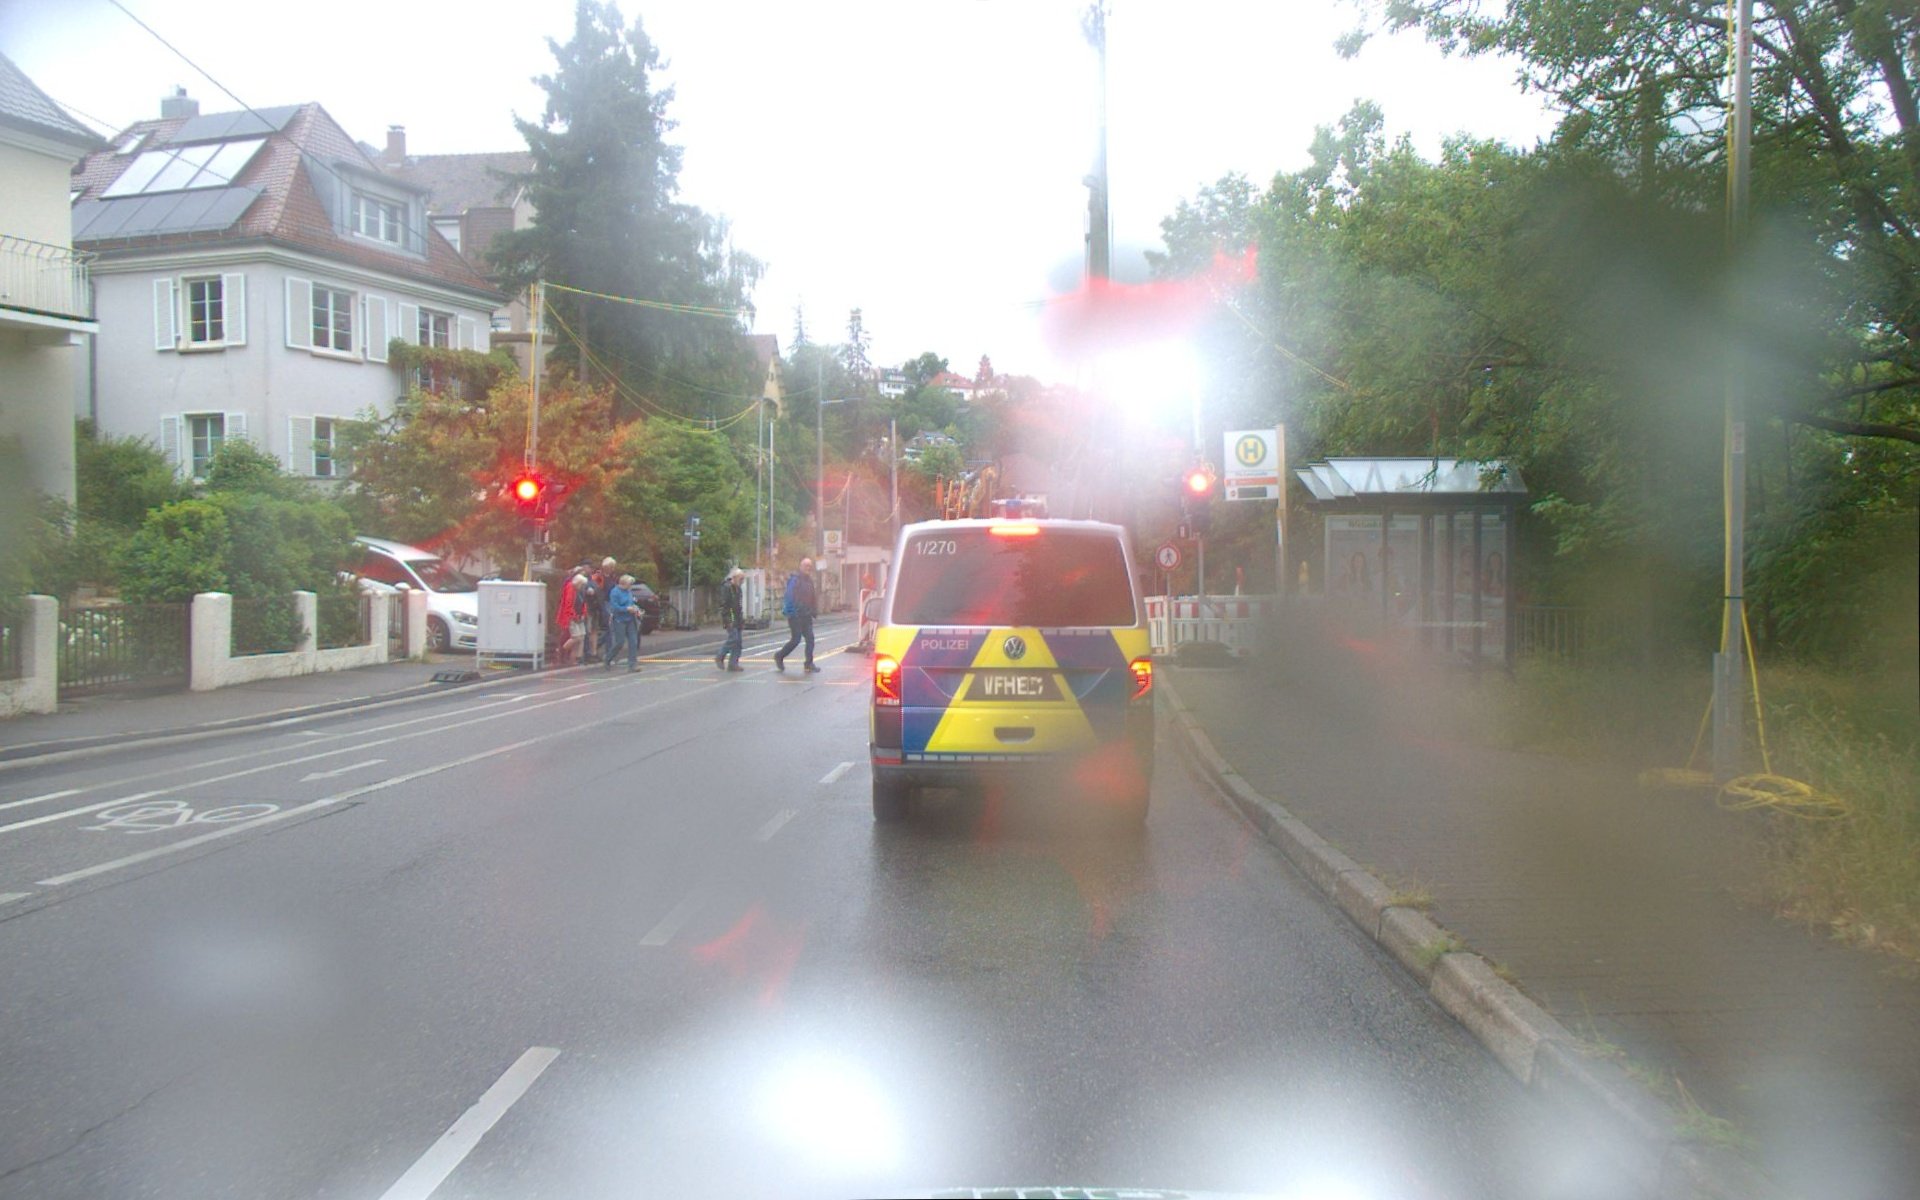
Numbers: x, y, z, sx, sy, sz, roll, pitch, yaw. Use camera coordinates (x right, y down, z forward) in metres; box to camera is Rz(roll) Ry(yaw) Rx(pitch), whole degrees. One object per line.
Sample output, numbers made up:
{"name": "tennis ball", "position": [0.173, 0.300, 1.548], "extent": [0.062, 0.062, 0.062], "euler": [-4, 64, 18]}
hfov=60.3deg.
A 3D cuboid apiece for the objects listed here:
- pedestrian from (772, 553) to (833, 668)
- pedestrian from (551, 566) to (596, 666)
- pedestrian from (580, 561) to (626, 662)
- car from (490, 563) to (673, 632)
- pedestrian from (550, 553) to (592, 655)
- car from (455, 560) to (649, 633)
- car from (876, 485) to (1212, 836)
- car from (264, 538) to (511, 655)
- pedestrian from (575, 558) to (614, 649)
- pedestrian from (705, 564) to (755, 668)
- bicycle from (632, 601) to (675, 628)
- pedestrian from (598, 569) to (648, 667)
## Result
{"name": "pedestrian", "position": [-2.557, 0.173, 26.960], "extent": [0.872, 1.819, 0.828], "euler": [2, -2, -1]}
{"name": "pedestrian", "position": [-6.386, 0.267, 27.332], "extent": [0.551, 1.610, 0.468], "euler": [2, -2, 2]}
{"name": "pedestrian", "position": [-6.276, 0.207, 29.088], "extent": [0.613, 1.745, 0.593], "euler": [2, -2, 2]}
{"name": "car", "position": [-9.162, -0.051, 40.129], "extent": [3.902, 1.512, 1.761], "euler": [2, -2, 11]}
{"name": "pedestrian", "position": [-6.547, 0.069, 27.868], "extent": [0.537, 1.697, 0.414], "euler": [2, -2, 2]}
{"name": "car", "position": [-9.343, -0.065, 37.979], "extent": [3.902, 1.512, 1.761], "euler": [2, -2, 11]}
{"name": "car", "position": [0.434, 0.303, 12.001], "extent": [1.953, 2.048, 4.401], "euler": [1, 1, -2]}
{"name": "car", "position": [-10.525, -0.082, 30.532], "extent": [3.902, 2.049, 1.832], "euler": [1, 0, 12]}
{"name": "pedestrian", "position": [-6.289, 0.070, 28.458], "extent": [0.514, 1.533, 0.429], "euler": [2, -2, 2]}
{"name": "pedestrian", "position": [-3.693, 0.260, 26.614], "extent": [0.672, 1.632, 0.605], "euler": [2, -2, -1]}
{"name": "bicycle", "position": [-7.976, 0.371, 43.060], "extent": [1.031, 0.674, 0.320], "euler": [2, -2, 10]}
{"name": "pedestrian", "position": [-5.421, 0.298, 26.636], "extent": [0.613, 1.548, 0.593], "euler": [2, -2, 2]}
